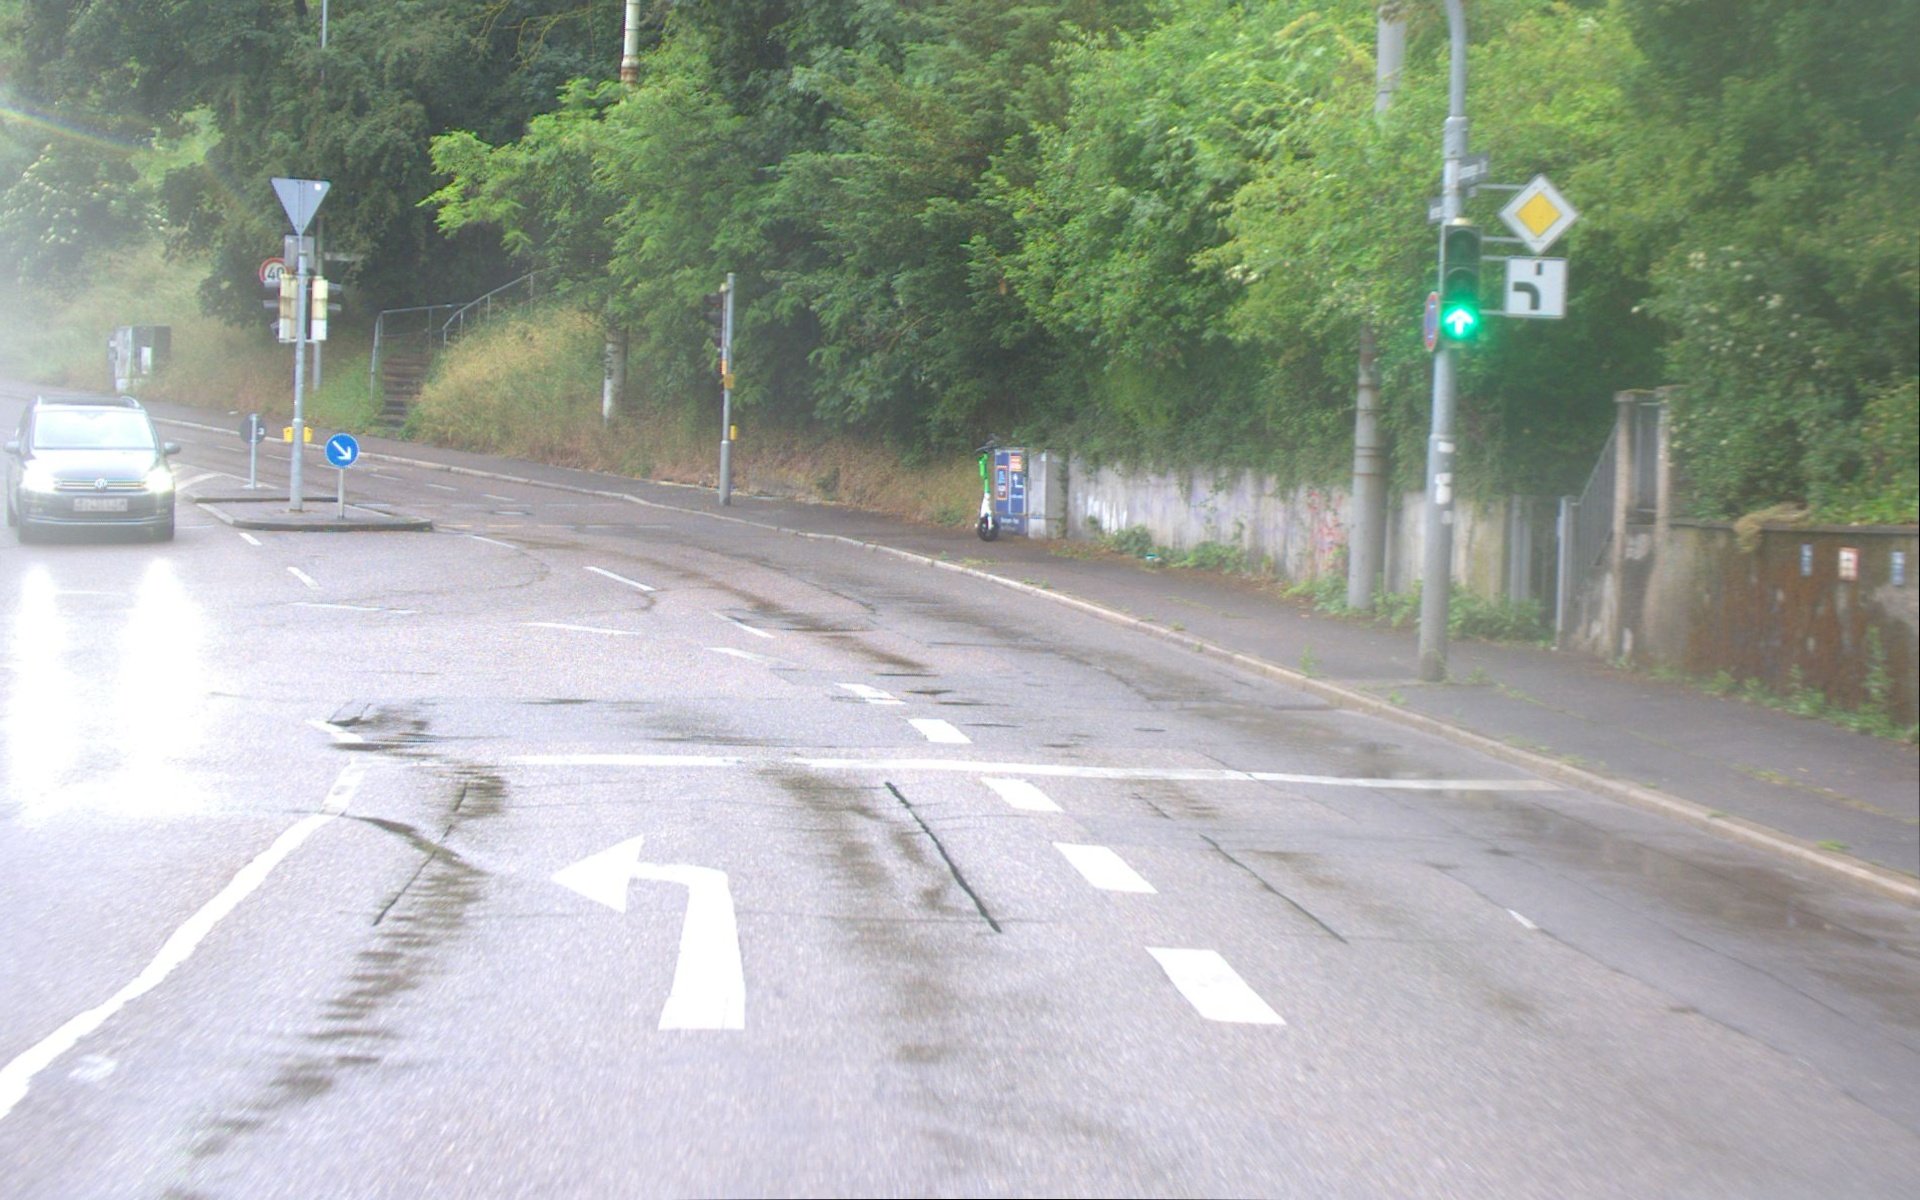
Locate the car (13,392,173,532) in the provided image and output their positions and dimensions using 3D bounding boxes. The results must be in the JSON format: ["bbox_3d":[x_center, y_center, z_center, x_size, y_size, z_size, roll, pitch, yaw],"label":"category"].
[{"bbox_3d":[-10.442,-1.707,41.482,1.740,1.544,4.002,-2,4,-14],"label":"car"}]

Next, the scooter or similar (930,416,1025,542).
[{"bbox_3d":[0.200,-1.523,42.598,0.616,1.416,2.160,-1,6,-15],"label":"scooter or similar"}]
